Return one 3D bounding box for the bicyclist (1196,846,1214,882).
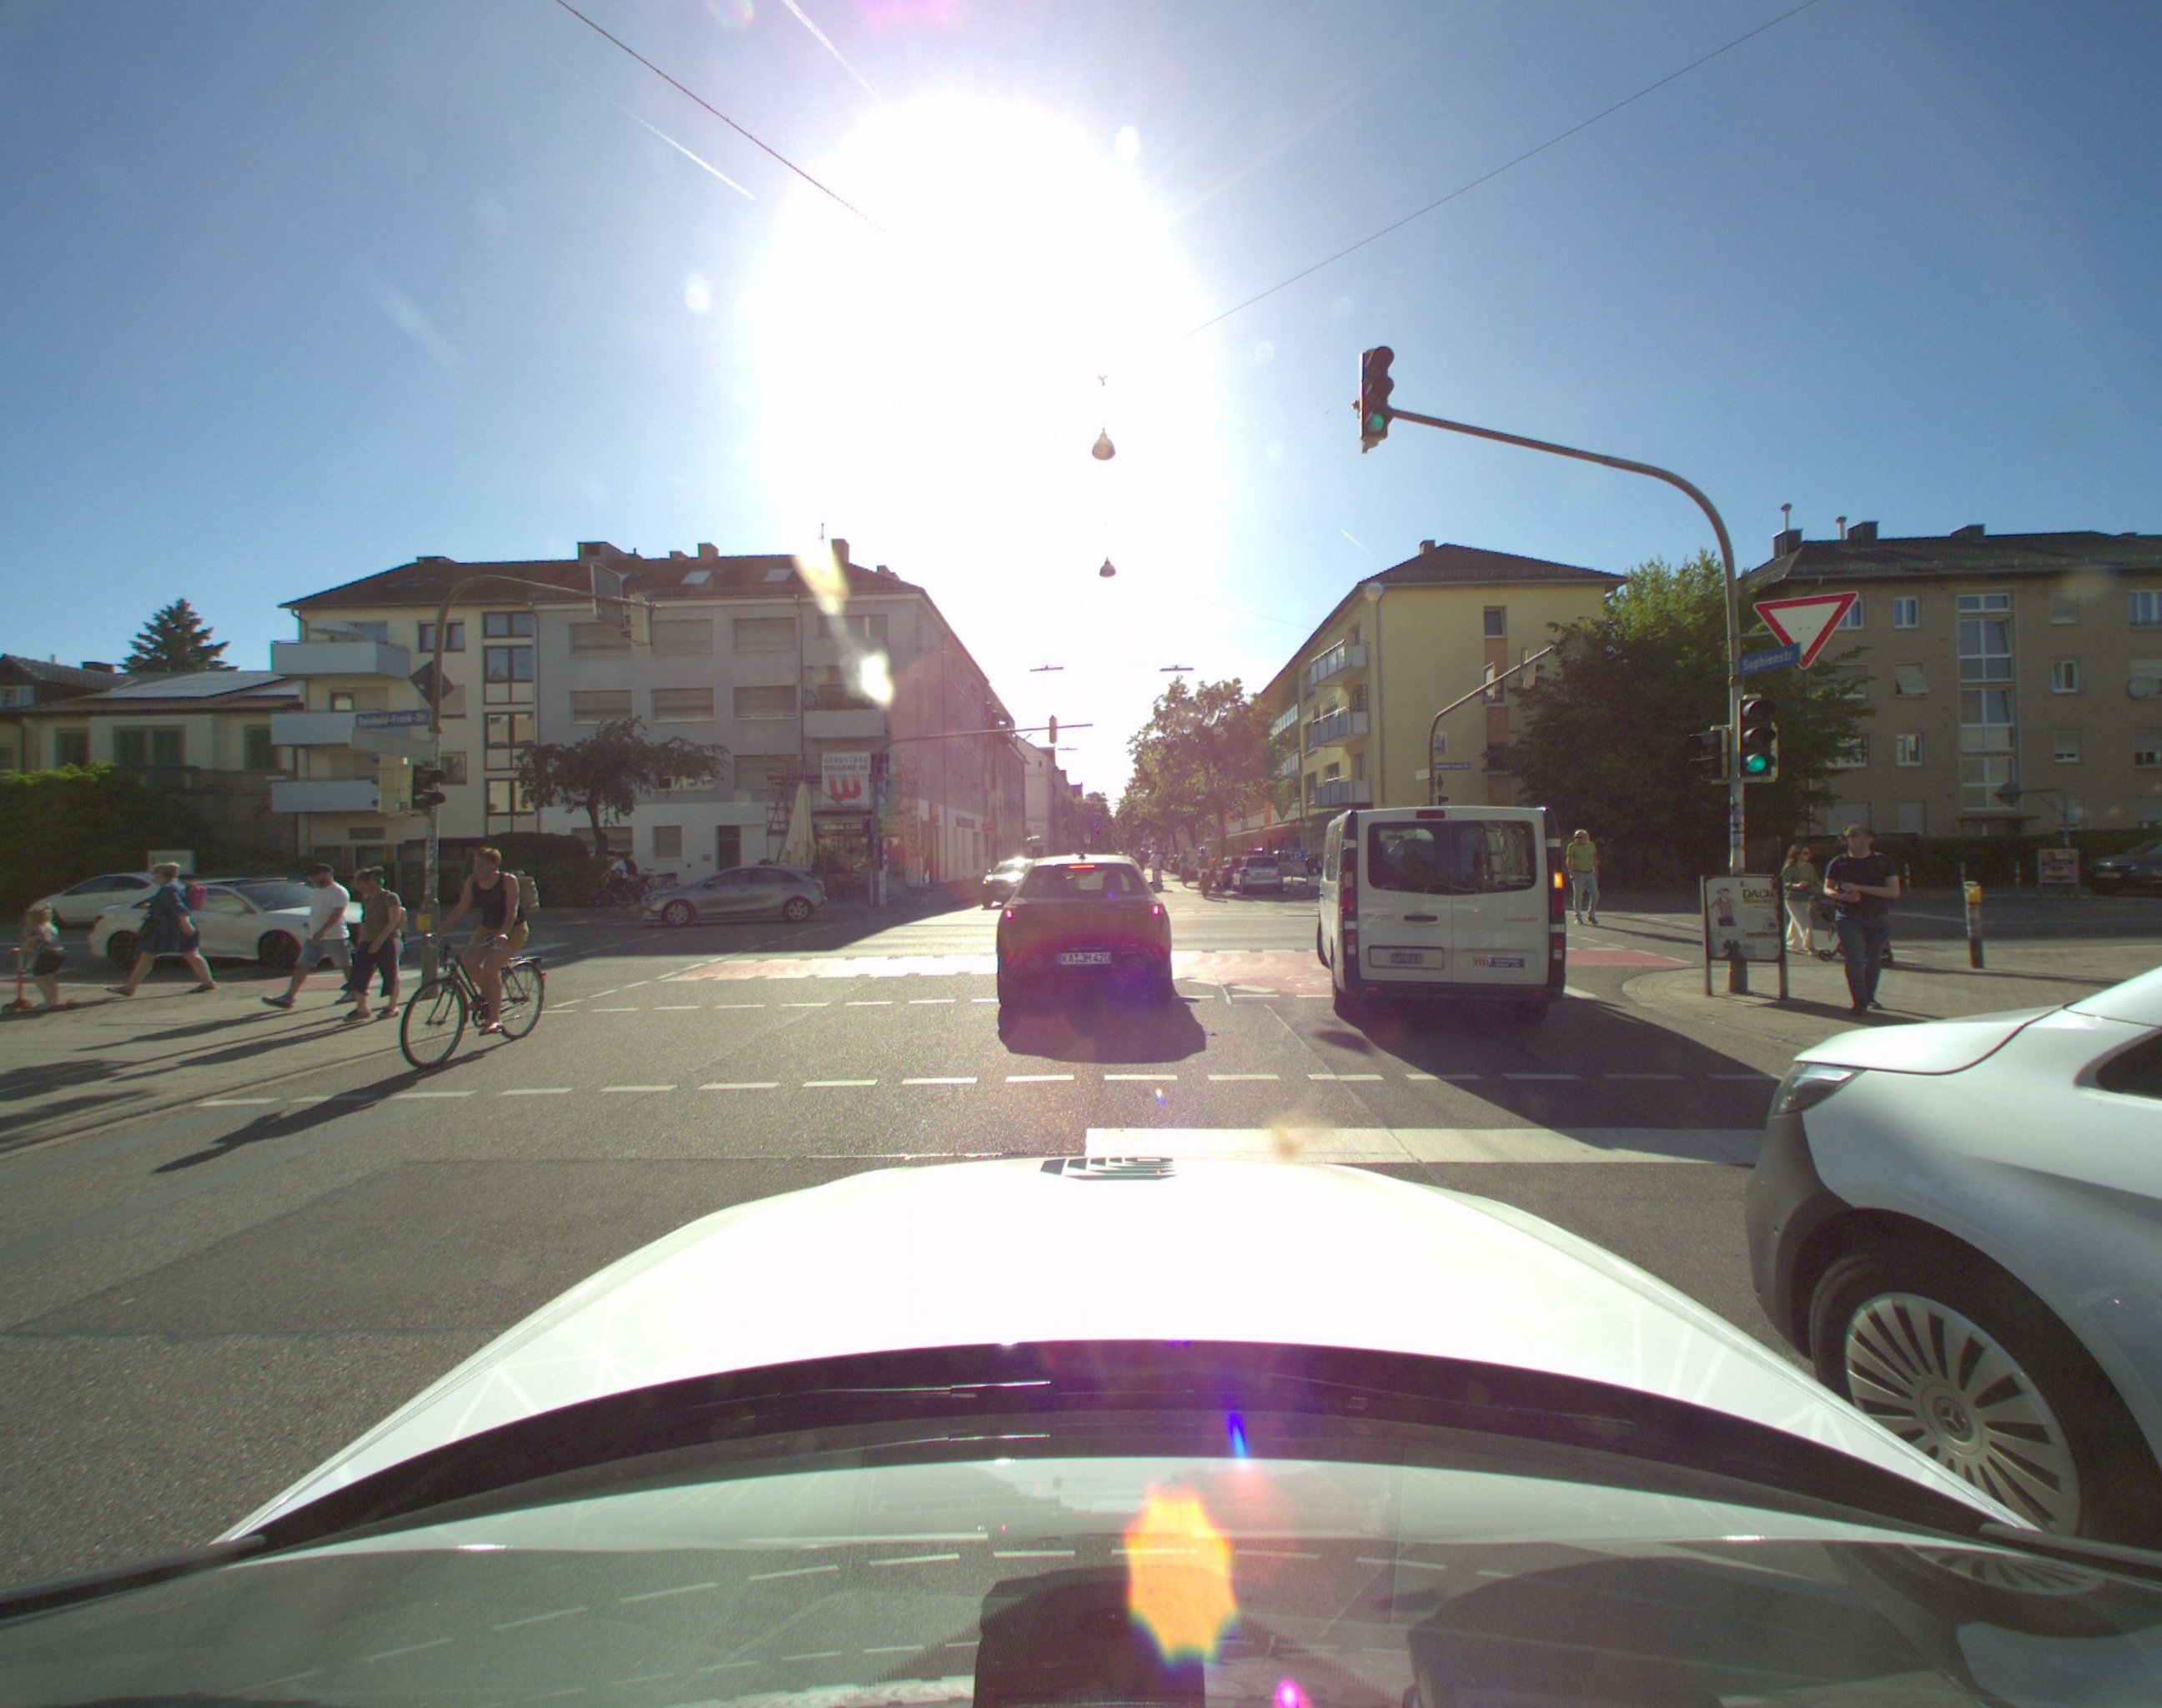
[{"bbox_3d":[4.437,0.342,29.127,0.544,1.262,0.803,-1,0,3],"label":"bicyclist"}]

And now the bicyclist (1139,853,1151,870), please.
[{"bbox_3d":[4.827,0.556,61.352,0.853,1.314,1.211,1,0,2],"label":"bicyclist"}]

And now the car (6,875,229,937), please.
[{"bbox_3d":[-26.962,1.425,22.896,3.972,1.519,1.916,-1,1,1],"label":"car"}]

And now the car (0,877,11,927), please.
[{"bbox_3d":[-33.307,1.463,22.848,3.972,1.429,1.917,-1,2,1],"label":"car"}]

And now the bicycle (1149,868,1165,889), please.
[{"bbox_3d":[3.373,1.093,36.184,0.617,0.866,1.878,-1,0,3],"label":"bicycle"}]

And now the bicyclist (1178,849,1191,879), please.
[{"bbox_3d":[4.946,0.481,39.027,0.544,1.382,0.823,-1,0,3],"label":"bicyclist"}]

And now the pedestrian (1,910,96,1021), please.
[{"bbox_3d":[-11.498,1.225,9.079,0.533,1.146,0.383,-1,0,-28],"label":"pedestrian"}]

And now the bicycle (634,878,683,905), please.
[{"bbox_3d":[-15.735,1.405,30.334,1.582,0.940,0.513,-1,0,4],"label":"bicycle"}]

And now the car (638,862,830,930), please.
[{"bbox_3d":[-8.558,0.972,20.180,4.186,1.433,1.827,-1,0,-28],"label":"car"}]

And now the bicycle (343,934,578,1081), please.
[{"bbox_3d":[-5.180,1.230,6.969,0.540,0.902,1.827,-1,0,2],"label":"bicycle"}]

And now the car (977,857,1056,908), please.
[{"bbox_3d":[-2.101,0.909,27.668,1.581,1.566,4.101,-2,-1,11],"label":"car"}]

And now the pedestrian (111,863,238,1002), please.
[{"bbox_3d":[-11.590,0.962,10.450,0.973,1.683,0.568,-1,0,-36],"label":"pedestrian"}]

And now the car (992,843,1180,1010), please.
[{"bbox_3d":[0.117,0.700,9.731,1.756,1.558,4.002,-1,0,2],"label":"car"}]

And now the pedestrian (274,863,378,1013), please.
[{"bbox_3d":[-8.864,0.960,9.582,0.569,1.689,0.671,-1,0,11],"label":"pedestrian"}]

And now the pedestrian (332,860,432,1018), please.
[{"bbox_3d":[-7.325,0.866,8.550,0.529,1.581,0.563,-1,0,3],"label":"pedestrian"}]

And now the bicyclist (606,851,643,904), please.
[{"bbox_3d":[-13.648,0.695,24.341,0.811,1.549,0.553,0,0,-9],"label":"bicyclist"}]

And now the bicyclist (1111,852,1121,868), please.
[{"bbox_3d":[3.028,0.530,71.174,0.853,1.314,1.211,1,0,2],"label":"bicyclist"}]

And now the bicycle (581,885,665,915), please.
[{"bbox_3d":[-13.669,1.366,24.331,2.124,0.833,0.553,0,0,-9],"label":"bicycle"}]

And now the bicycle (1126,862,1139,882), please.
[{"bbox_3d":[2.902,1.001,46.036,0.630,1.041,1.796,-2,0,2],"label":"bicycle"}]

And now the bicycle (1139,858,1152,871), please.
[{"bbox_3d":[4.827,0.796,61.441,0.853,0.945,2.308,1,0,2],"label":"bicycle"}]

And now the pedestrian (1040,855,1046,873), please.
[{"bbox_3d":[-3.473,0.915,74.226,0.575,1.583,0.707,-1,0,-3],"label":"pedestrian"}]

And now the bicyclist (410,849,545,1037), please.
[{"bbox_3d":[-5.184,0.728,7.037,0.540,1.520,0.774,-1,0,2],"label":"bicyclist"}]

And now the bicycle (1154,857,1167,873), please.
[{"bbox_3d":[4.730,0.647,48.309,0.688,0.866,1.878,-1,0,3],"label":"bicycle"}]

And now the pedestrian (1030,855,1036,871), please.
[{"bbox_3d":[-4.367,0.789,74.282,0.575,1.467,0.702,-1,0,-3],"label":"pedestrian"}]

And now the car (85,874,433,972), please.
[{"bbox_3d":[-14.358,1.171,14.416,4.235,1.435,1.937,-1,3,4],"label":"car"}]

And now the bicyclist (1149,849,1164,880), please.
[{"bbox_3d":[3.363,0.456,36.200,0.586,1.382,0.823,-1,0,3],"label":"bicyclist"}]

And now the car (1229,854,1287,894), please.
[{"bbox_3d":[7.091,0.771,32.892,1.706,1.483,3.482,-1,0,2],"label":"car"}]

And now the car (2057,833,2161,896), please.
[{"bbox_3d":[28.849,0.232,21.379,3.971,1.574,2.001,-1,0,2],"label":"car"}]

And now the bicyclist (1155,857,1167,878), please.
[{"bbox_3d":[4.735,0.799,48.278,0.689,1.193,0.595,-1,0,3],"label":"bicyclist"}]

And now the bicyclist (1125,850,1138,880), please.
[{"bbox_3d":[2.853,0.620,45.871,0.630,1.669,1.051,-2,0,2],"label":"bicyclist"}]

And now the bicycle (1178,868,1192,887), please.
[{"bbox_3d":[4.961,1.119,38.858,0.544,0.866,1.878,-1,0,3],"label":"bicycle"}]

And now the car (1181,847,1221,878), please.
[{"bbox_3d":[7.515,0.514,51.402,2.037,1.846,4.588,-1,0,3],"label":"car"}]

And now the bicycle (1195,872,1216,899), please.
[{"bbox_3d":[4.448,1.105,29.107,0.544,0.866,1.878,-1,0,3],"label":"bicycle"}]

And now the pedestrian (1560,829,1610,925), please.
[{"bbox_3d":[9.538,0.424,15.426,0.524,1.762,0.623,-1,0,0],"label":"pedestrian"}]

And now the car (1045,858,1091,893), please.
[{"bbox_3d":[-0.536,0.942,37.787,1.797,1.413,4.429,-3,0,3],"label":"car"}]

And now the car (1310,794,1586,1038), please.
[{"bbox_3d":[3.684,0.505,9.185,1.954,1.940,5.074,0,0,14],"label":"car"}]

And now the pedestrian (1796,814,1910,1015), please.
[{"bbox_3d":[7.347,0.548,7.782,0.598,1.822,0.632,-1,0,26],"label":"pedestrian"}]

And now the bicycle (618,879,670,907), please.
[{"bbox_3d":[-15.454,1.381,28.824,1.582,0.940,0.513,-1,0,4],"label":"bicycle"}]

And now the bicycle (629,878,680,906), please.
[{"bbox_3d":[-15.524,1.385,29.640,1.582,0.940,0.513,-1,0,4],"label":"bicycle"}]

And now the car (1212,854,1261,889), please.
[{"bbox_3d":[7.078,0.754,37.297,1.706,1.483,3.383,-1,0,2],"label":"car"}]

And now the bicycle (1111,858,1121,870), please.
[{"bbox_3d":[3.026,0.877,71.187,0.853,0.945,2.308,1,0,2],"label":"bicycle"}]

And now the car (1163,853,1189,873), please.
[{"bbox_3d":[7.433,0.702,63.858,1.706,1.483,3.383,-1,0,2],"label":"car"}]

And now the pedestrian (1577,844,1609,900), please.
[{"bbox_3d":[14.639,0.501,23.287,0.537,1.571,0.539,-1,0,2],"label":"pedestrian"}]
